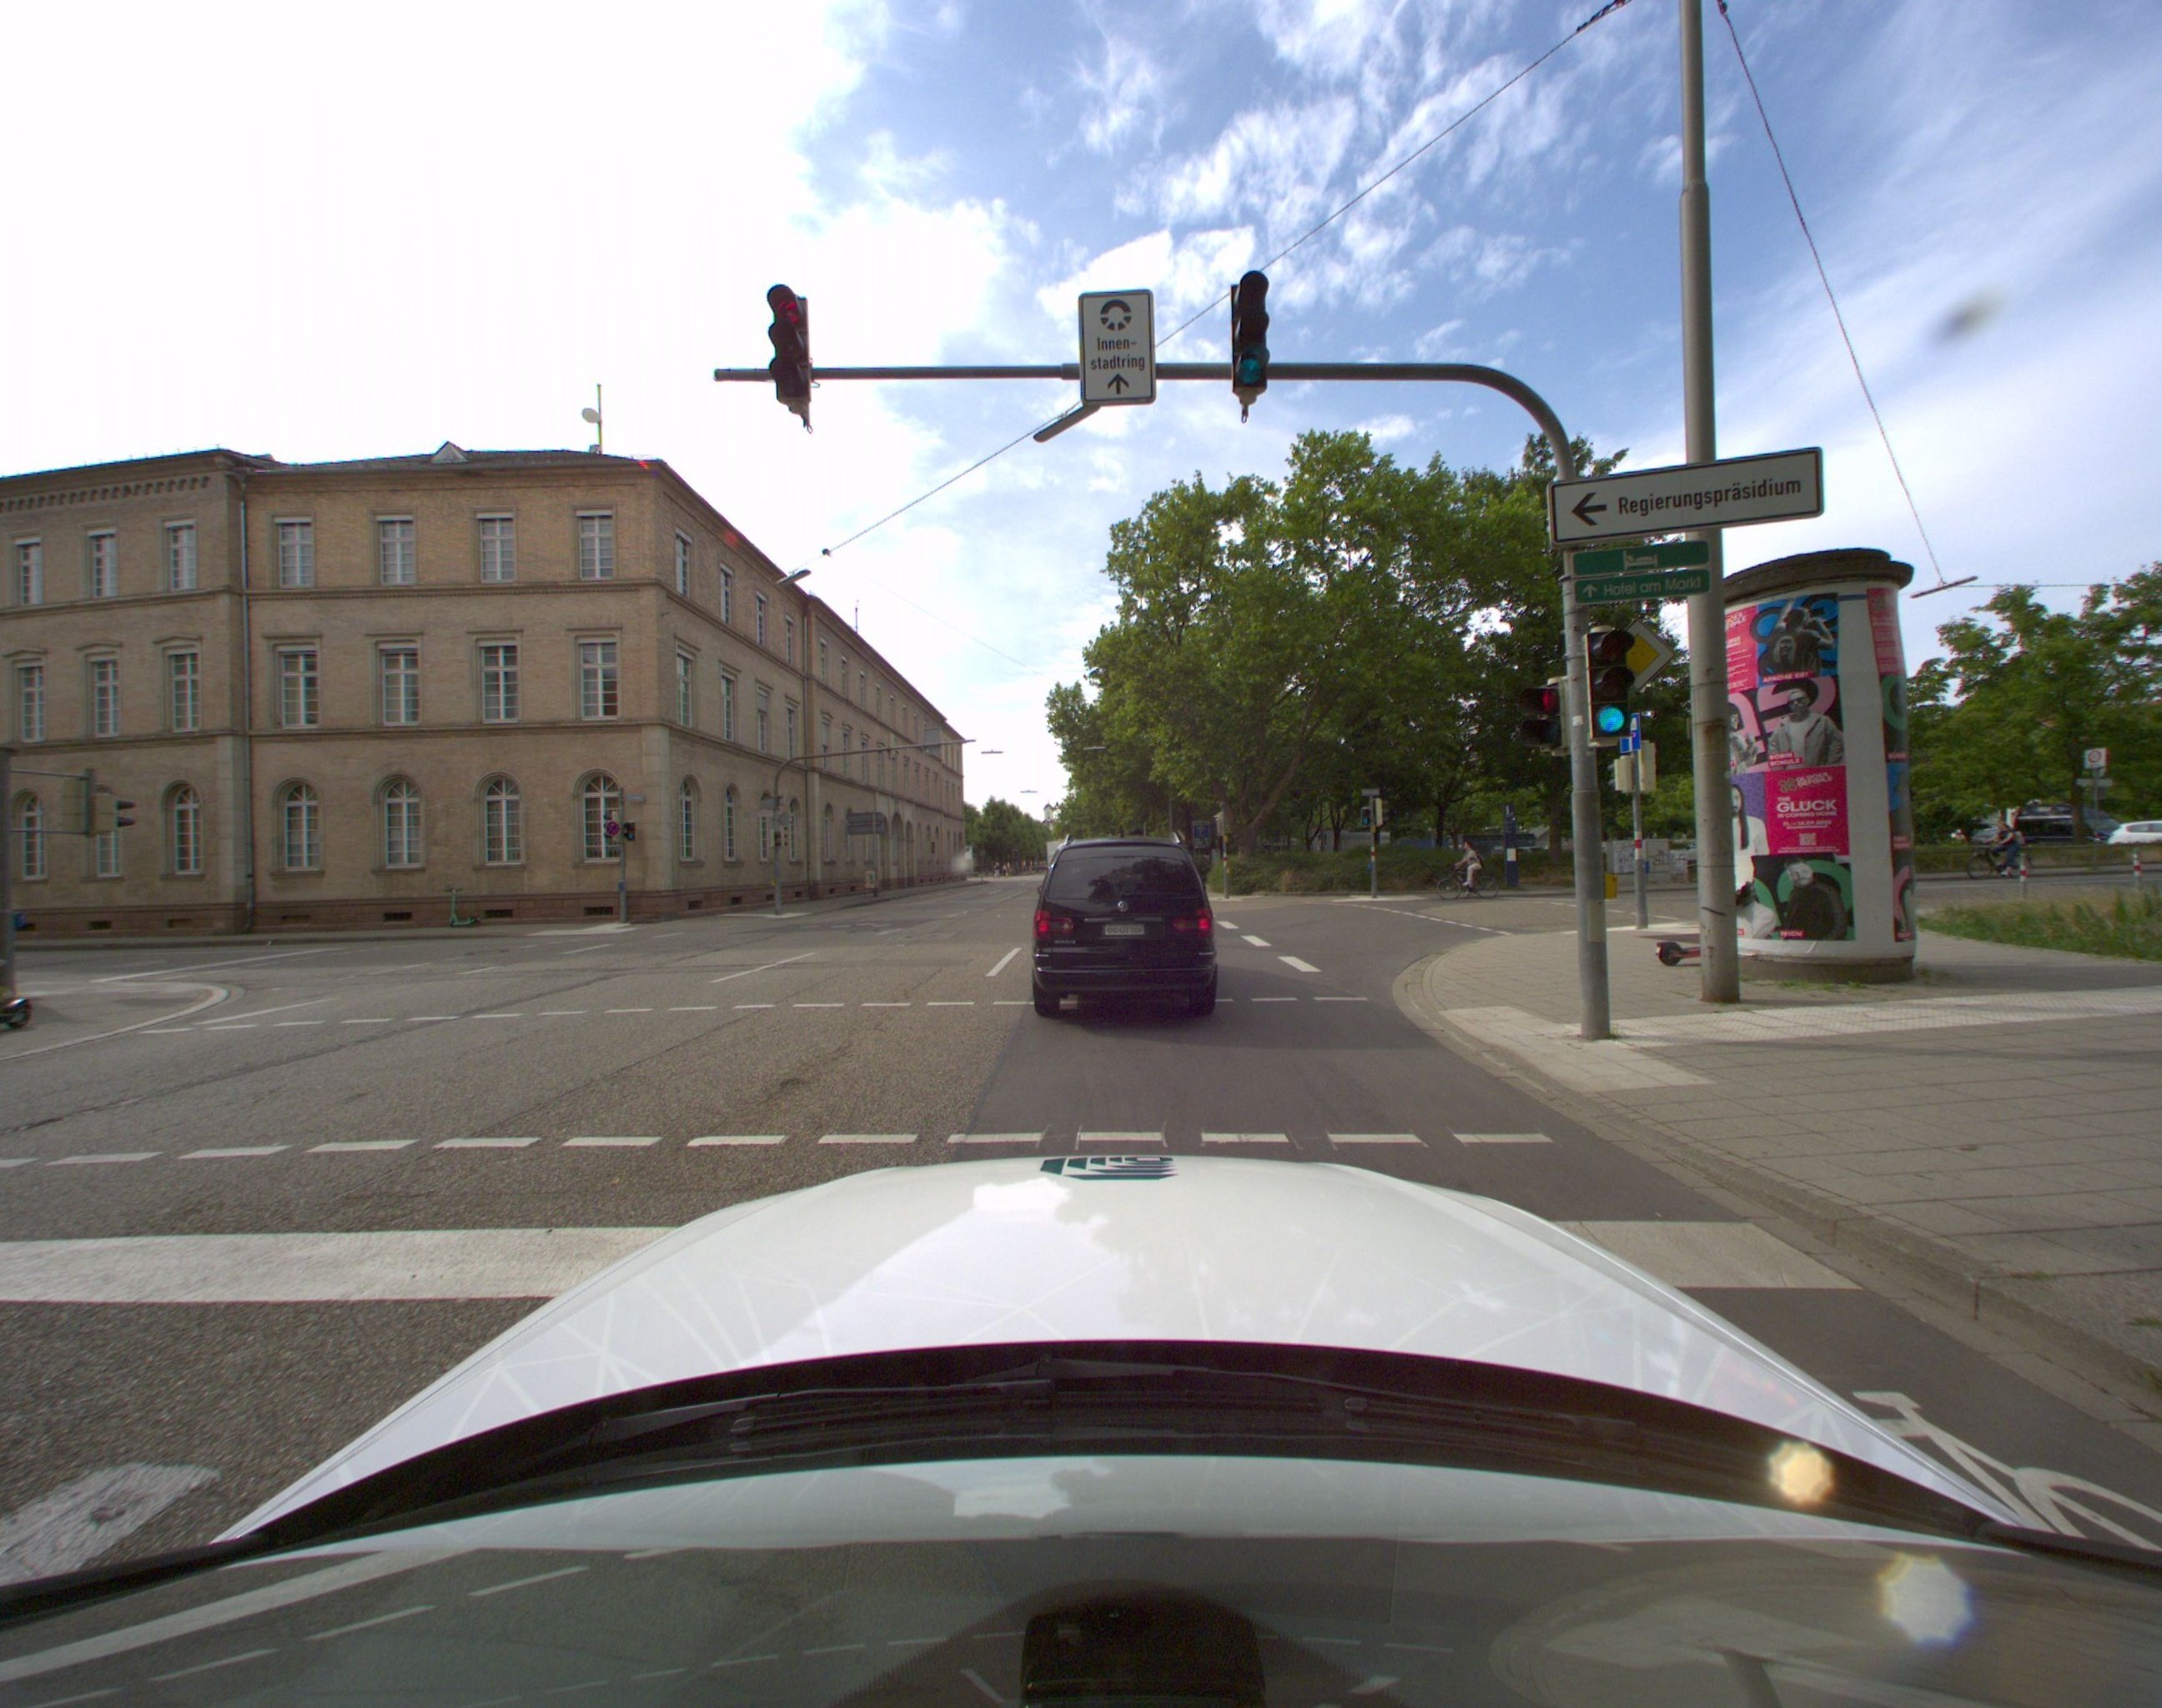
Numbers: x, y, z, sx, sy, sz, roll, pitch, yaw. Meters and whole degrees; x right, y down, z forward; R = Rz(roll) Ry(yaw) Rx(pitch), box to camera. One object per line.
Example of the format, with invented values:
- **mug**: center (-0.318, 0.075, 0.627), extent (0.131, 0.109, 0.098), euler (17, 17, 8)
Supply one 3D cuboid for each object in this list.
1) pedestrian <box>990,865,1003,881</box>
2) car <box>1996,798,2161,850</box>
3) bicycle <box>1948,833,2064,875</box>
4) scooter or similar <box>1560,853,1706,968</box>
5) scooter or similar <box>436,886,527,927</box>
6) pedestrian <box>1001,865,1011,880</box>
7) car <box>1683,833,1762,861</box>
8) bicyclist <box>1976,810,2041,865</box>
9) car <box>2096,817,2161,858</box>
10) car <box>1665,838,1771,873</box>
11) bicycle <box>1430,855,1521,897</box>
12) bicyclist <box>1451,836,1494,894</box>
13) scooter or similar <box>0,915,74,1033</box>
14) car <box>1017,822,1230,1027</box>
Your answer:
- **pedestrian**: center (-9.272, 2.078, 89.804), extent (0.952, 1.741, 1.262), euler (0, -1, 19)
- **car**: center (54.252, -1.540, 44.439), extent (2.428, 2.614, 5.494), euler (0, -1, -1)
- **bicycle**: center (27.668, 0.025, 24.392), extent (2.233, 1.172, 0.917), euler (-2, -2, 6)
- **scooter or similar**: center (6.249, 0.635, 9.253), extent (1.299, 1.209, 0.345), euler (-4, -1, 5)
- **scooter or similar**: center (-17.424, 1.511, 23.685), extent (2.356, 1.165, 0.561), euler (0, -1, 7)
- **pedestrian**: center (-8.251, 2.065, 89.458), extent (0.888, 1.641, 0.856), euler (0, -1, 19)
- **car**: center (47.868, -0.477, 60.868), extent (1.989, 2.014, 4.767), euler (0, -1, -3)
- **bicyclist**: center (27.783, -0.474, 24.402), extent (0.825, 1.577, 0.917), euler (-2, -2, 6)
- **car**: center (44.296, -0.670, 32.421), extent (1.985, 1.630, 4.776), euler (0, -1, 3)
- **car**: center (34.524, 0.109, 44.320), extent (1.988, 1.794, 4.770), euler (0, -1, -2)
- **bicycle**: center (11.731, 0.661, 24.268), extent (2.233, 1.172, 0.917), euler (-2, -2, 6)
- **bicyclist**: center (11.671, 0.341, 24.286), extent (0.825, 1.678, 0.917), euler (-2, -2, 6)
- **scooter or similar**: center (-11.494, 1.282, 8.578), extent (0.329, 1.179, 1.337), euler (0, -1, -12)
- **car**: center (0.404, 0.629, 9.110), extent (1.787, 1.708, 4.131), euler (-2, -1, 1)
